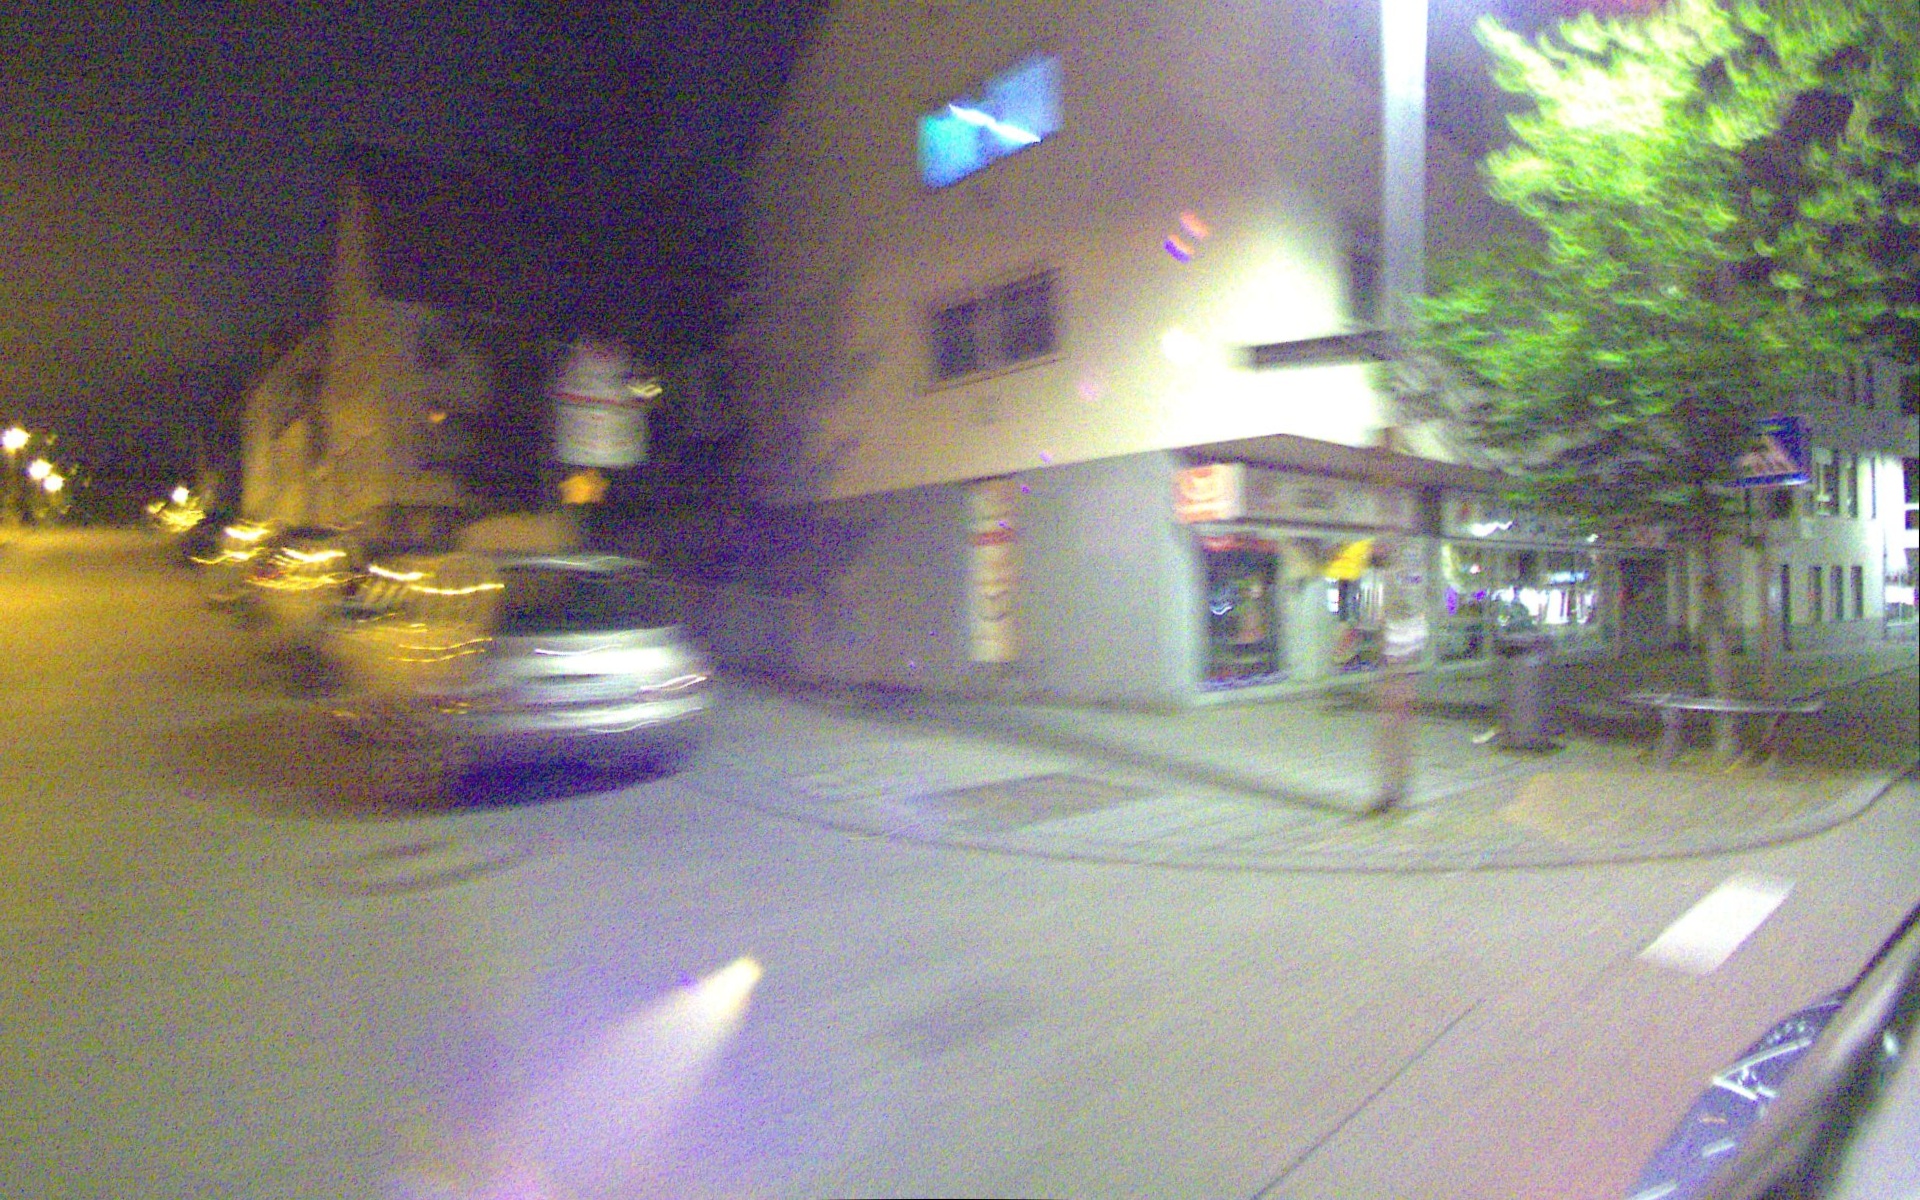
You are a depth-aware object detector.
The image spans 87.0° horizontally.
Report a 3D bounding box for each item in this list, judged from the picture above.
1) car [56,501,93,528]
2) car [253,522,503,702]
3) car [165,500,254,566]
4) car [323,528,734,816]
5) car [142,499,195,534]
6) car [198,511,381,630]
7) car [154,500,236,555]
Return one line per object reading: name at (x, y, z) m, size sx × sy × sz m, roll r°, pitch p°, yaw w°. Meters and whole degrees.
car at (-57.054, -5.546, 65.257) m, size 1.762 × 1.562 × 4.090 m, roll 1°, pitch 4°, yaw -41°
car at (-6.394, -0.020, 10.926) m, size 1.648 × 1.514 × 3.853 m, roll -1°, pitch 5°, yaw -41°
car at (-20.235, -1.826, 27.220) m, size 1.599 × 1.577 × 4.089 m, roll 0°, pitch 5°, yaw -41°
car at (-3.345, 0.299, 7.479) m, size 1.789 × 1.543 × 3.513 m, roll -1°, pitch 4°, yaw -41°
car at (-38.018, -4.029, 48.580) m, size 1.762 × 1.462 × 4.089 m, roll 1°, pitch 4°, yaw -41°
car at (-10.466, -0.550, 15.658) m, size 1.649 × 1.489 × 4.367 m, roll -1°, pitch 6°, yaw -43°
car at (-24.248, -2.315, 32.025) m, size 1.762 × 1.502 × 4.089 m, roll 1°, pitch 4°, yaw -41°
